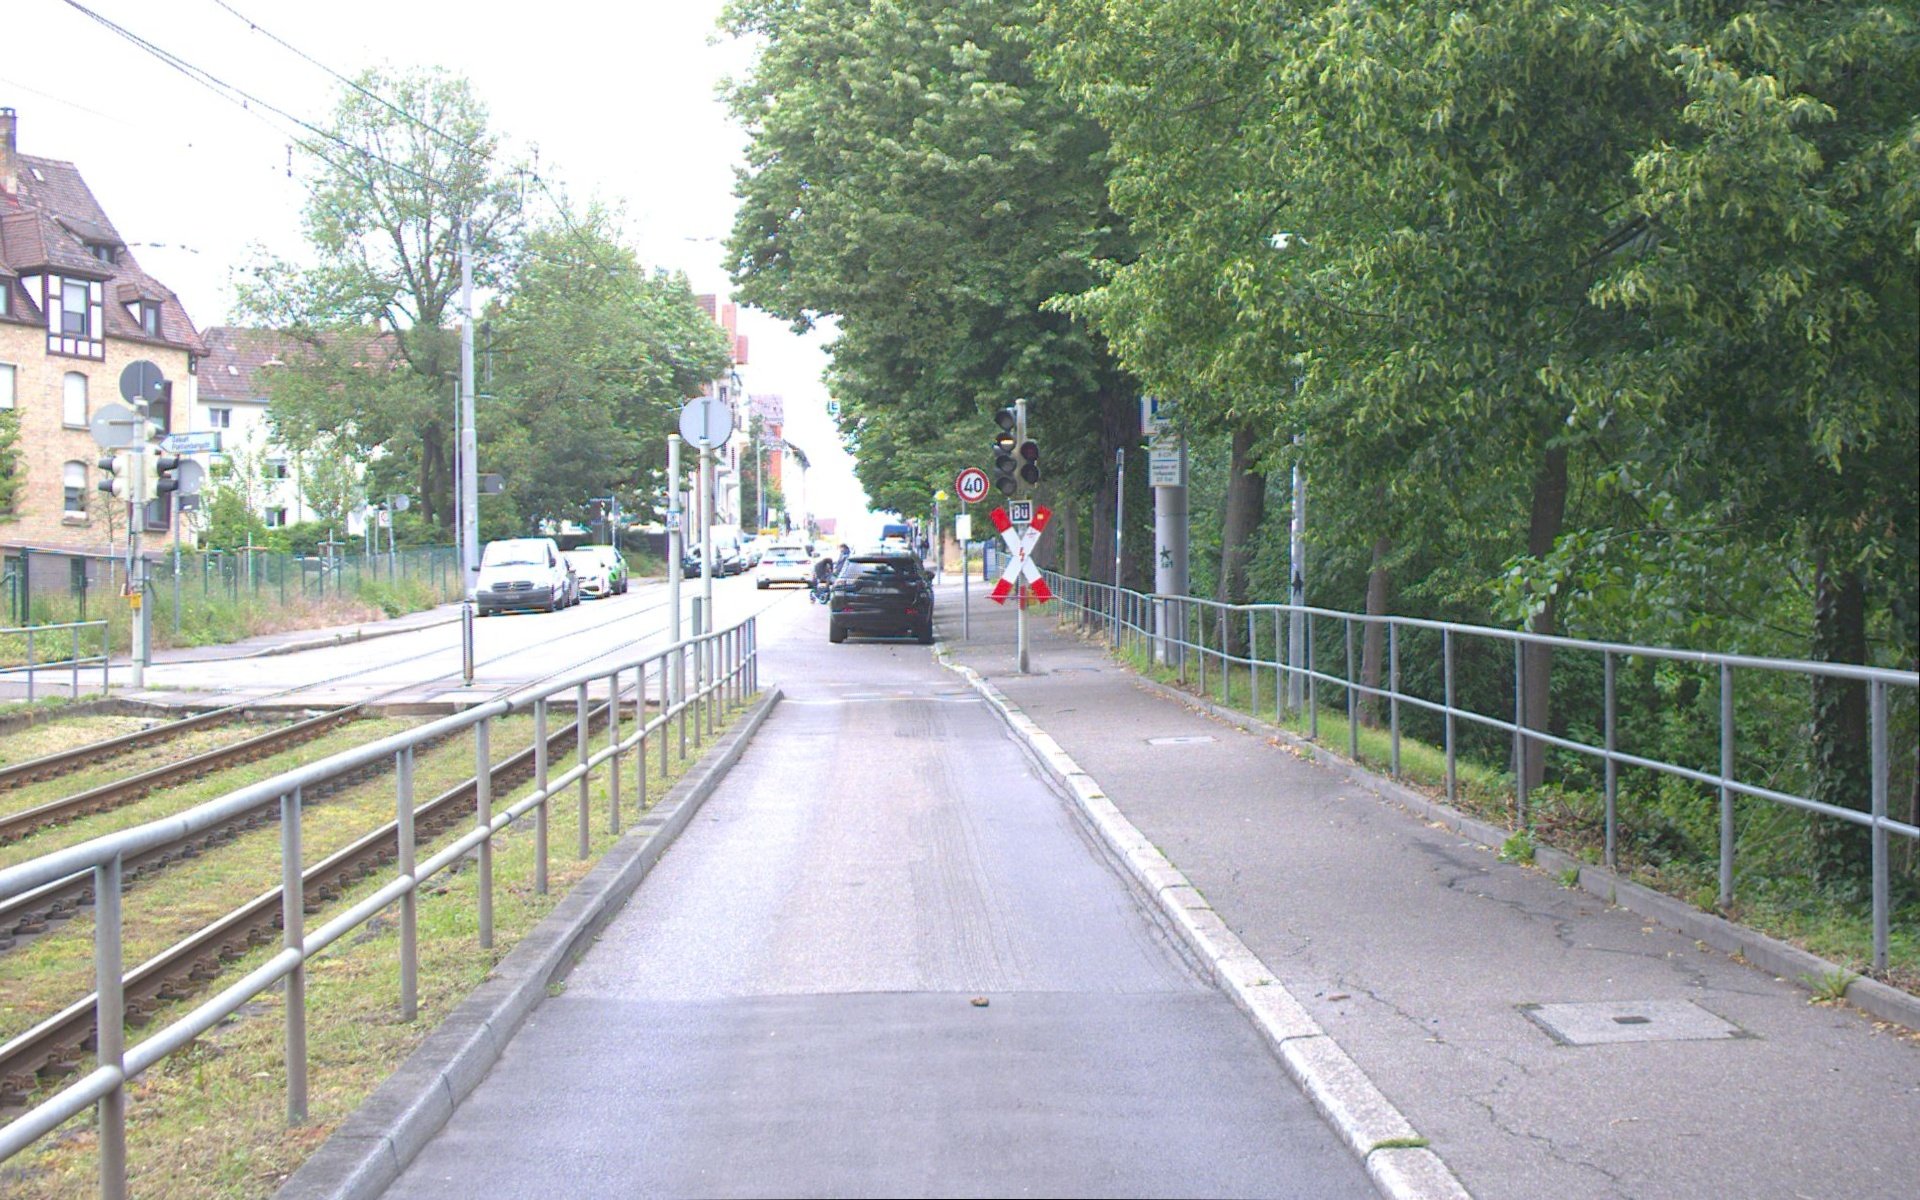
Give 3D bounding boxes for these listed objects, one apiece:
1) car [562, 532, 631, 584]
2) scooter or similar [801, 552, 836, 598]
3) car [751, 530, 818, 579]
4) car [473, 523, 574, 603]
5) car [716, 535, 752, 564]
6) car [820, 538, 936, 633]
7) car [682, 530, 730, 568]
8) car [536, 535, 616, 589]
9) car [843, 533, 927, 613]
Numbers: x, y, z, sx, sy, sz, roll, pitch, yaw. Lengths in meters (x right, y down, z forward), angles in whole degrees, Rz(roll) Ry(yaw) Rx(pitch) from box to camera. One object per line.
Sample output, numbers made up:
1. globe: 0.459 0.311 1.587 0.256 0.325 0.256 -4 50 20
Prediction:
1. car: -11.340 -1.324 107.392 1.723 1.574 4.181 -1 1 -1
2. scooter or similar: -3.675 -0.657 89.246 0.836 1.192 0.807 0 0 -6
3. car: -5.547 -1.435 109.036 1.993 1.493 4.312 0 0 -1
4. car: -11.033 -0.935 87.187 2.035 1.875 4.886 -3 0 -2
5. car: -12.653 -2.804 192.652 1.993 1.595 4.313 0 0 -3
6. car: -1.439 -0.293 61.747 1.904 1.609 4.600 1 1 0
7. car: -12.373 -2.484 167.846 1.993 1.802 4.000 0 0 1
8. car: -11.318 -1.133 101.598 1.885 1.521 4.664 -2 1 -1
9. car: -1.712 -0.629 77.446 1.726 1.626 4.089 3 1 -2
